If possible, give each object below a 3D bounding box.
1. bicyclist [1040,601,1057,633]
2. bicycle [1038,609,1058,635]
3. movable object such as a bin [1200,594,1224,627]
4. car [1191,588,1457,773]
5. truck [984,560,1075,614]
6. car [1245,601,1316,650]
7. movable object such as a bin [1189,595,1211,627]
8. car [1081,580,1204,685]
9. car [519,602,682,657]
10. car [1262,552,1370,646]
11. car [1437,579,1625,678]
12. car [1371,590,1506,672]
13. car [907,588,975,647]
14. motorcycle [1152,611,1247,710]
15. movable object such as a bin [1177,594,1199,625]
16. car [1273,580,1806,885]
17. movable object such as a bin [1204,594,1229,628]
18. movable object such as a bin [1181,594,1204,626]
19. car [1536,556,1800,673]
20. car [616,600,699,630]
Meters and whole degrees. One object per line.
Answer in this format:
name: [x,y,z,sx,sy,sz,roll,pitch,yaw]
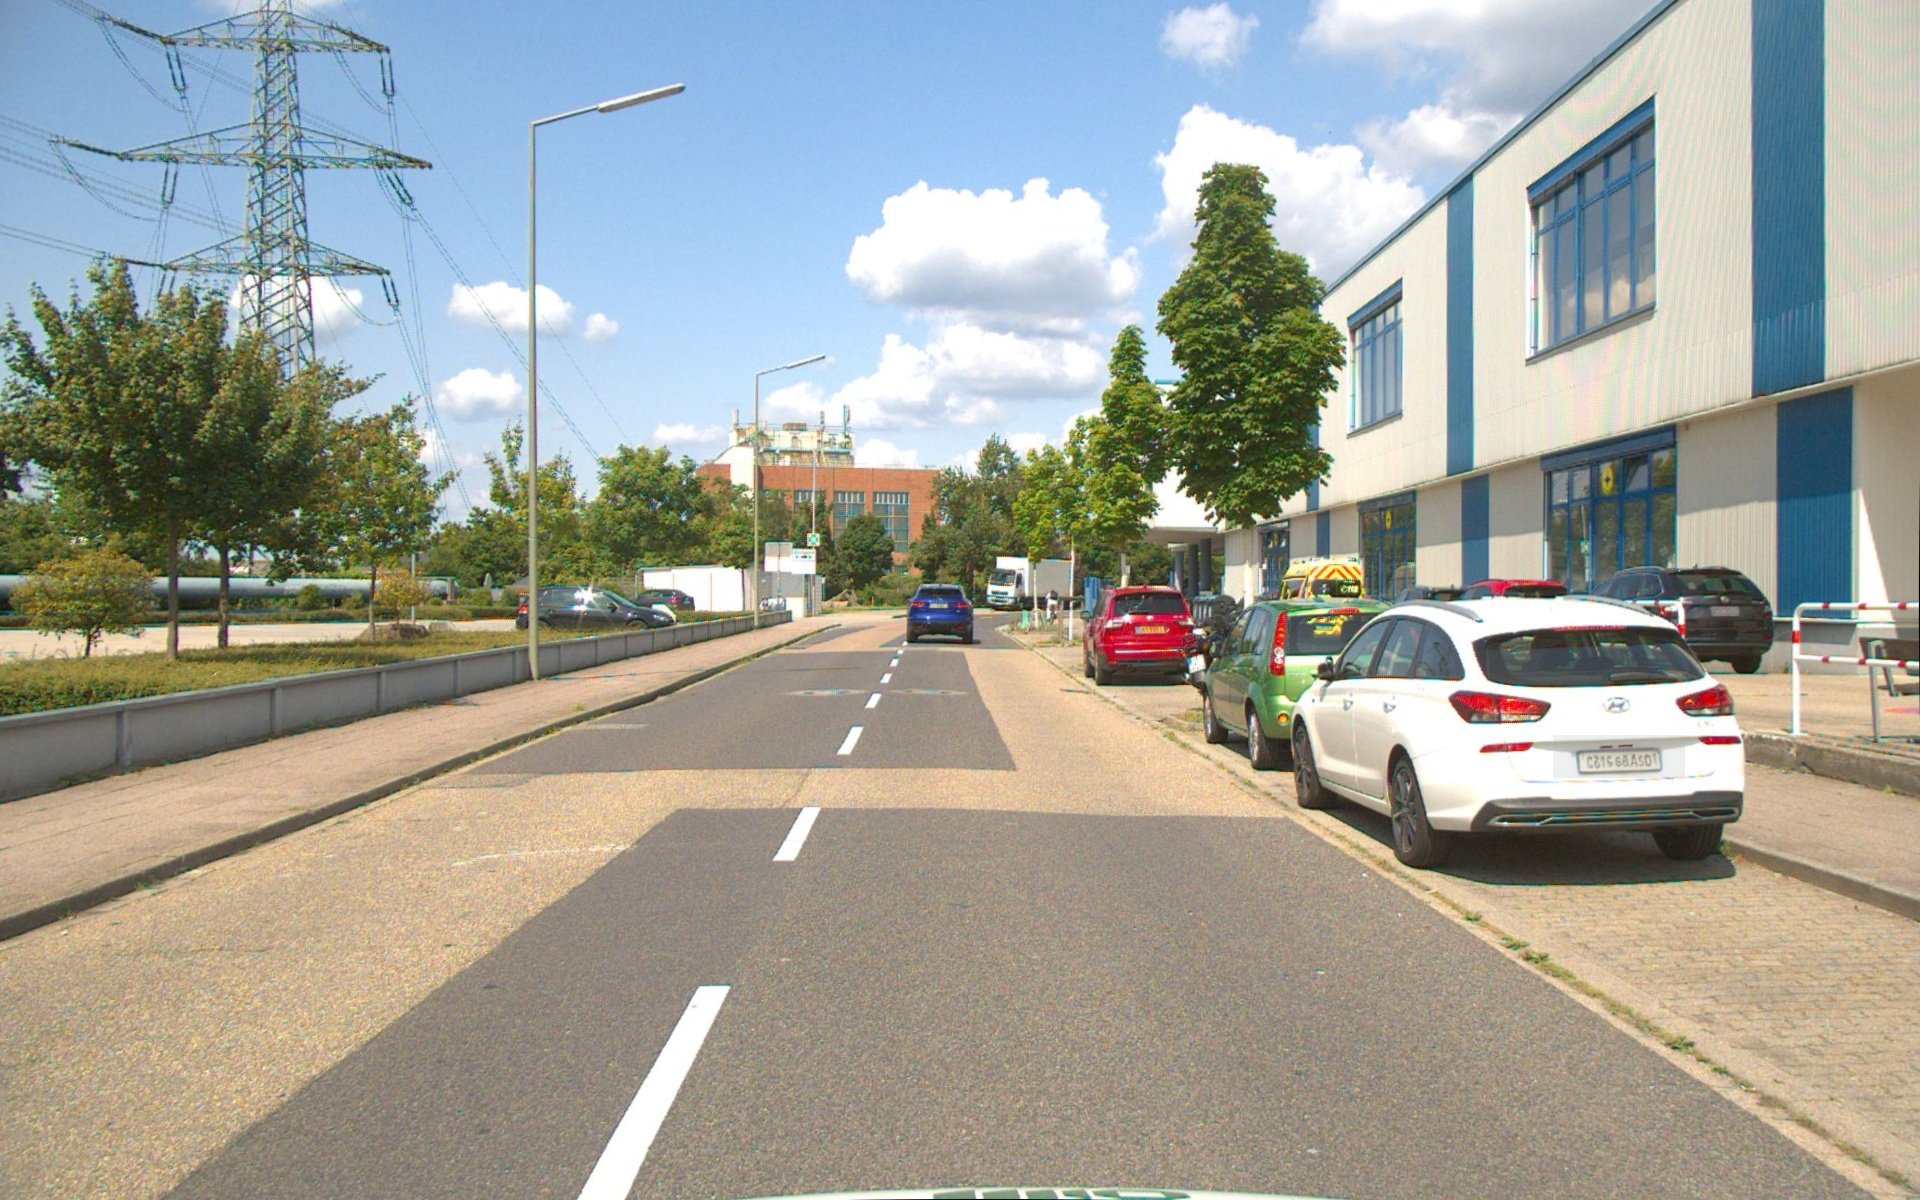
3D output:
bicyclist: [3.979,0.759,74.300,0.649,1.422,0.859,0,0,11]
bicycle: [3.955,0.984,74.126,0.652,1.128,2.169,0,0,10]
movable object such as a bin: [10.994,0.462,72.091,0.788,1.438,1.357,1,0,-2]
car: [3.352,0.684,15.965,1.634,1.547,3.994,1,0,-1]
truck: [4.965,-0.936,115.853,2.278,3.629,9.351,2,2,29]
car: [10.374,0.796,53.736,1.540,1.516,3.816,1,0,-1]
movable object such as a bin: [10.857,0.502,74.881,0.788,1.438,1.174,1,0,-3]
car: [3.177,0.543,29.592,1.719,1.679,4.678,-2,0,1]
car: [-9.386,0.768,43.409,3.906,1.400,1.803,0,0,-1]
car: [10.063,-0.012,47.168,1.884,2.507,5.258,1,0,-1]
car: [10.440,0.530,30.594,1.953,1.686,4.289,0,-1,-1]
car: [10.334,0.662,36.042,1.679,1.680,4.214,0,-1,-1]
car: [-0.590,0.491,48.368,1.871,1.621,4.700,1,0,-1]
motorcycle: [3.247,0.777,22.187,0.838,1.221,2.364,0,0,19]
movable object such as a bin: [10.925,0.463,79.344,0.788,1.438,1.357,1,0,-3]
car: [3.397,0.685,10.708,1.798,1.547,4.460,1,0,-1]
movable object such as a bin: [10.948,0.478,70.622,0.788,1.438,1.357,1,0,-2]
movable object such as a bin: [10.944,0.469,77.932,0.788,1.438,1.405,1,0,-3]
car: [10.119,0.287,24.080,1.790,1.539,4.639,0,-2,-1]
car: [-14.864,0.715,81.268,3.917,1.402,1.798,0,0,34]
